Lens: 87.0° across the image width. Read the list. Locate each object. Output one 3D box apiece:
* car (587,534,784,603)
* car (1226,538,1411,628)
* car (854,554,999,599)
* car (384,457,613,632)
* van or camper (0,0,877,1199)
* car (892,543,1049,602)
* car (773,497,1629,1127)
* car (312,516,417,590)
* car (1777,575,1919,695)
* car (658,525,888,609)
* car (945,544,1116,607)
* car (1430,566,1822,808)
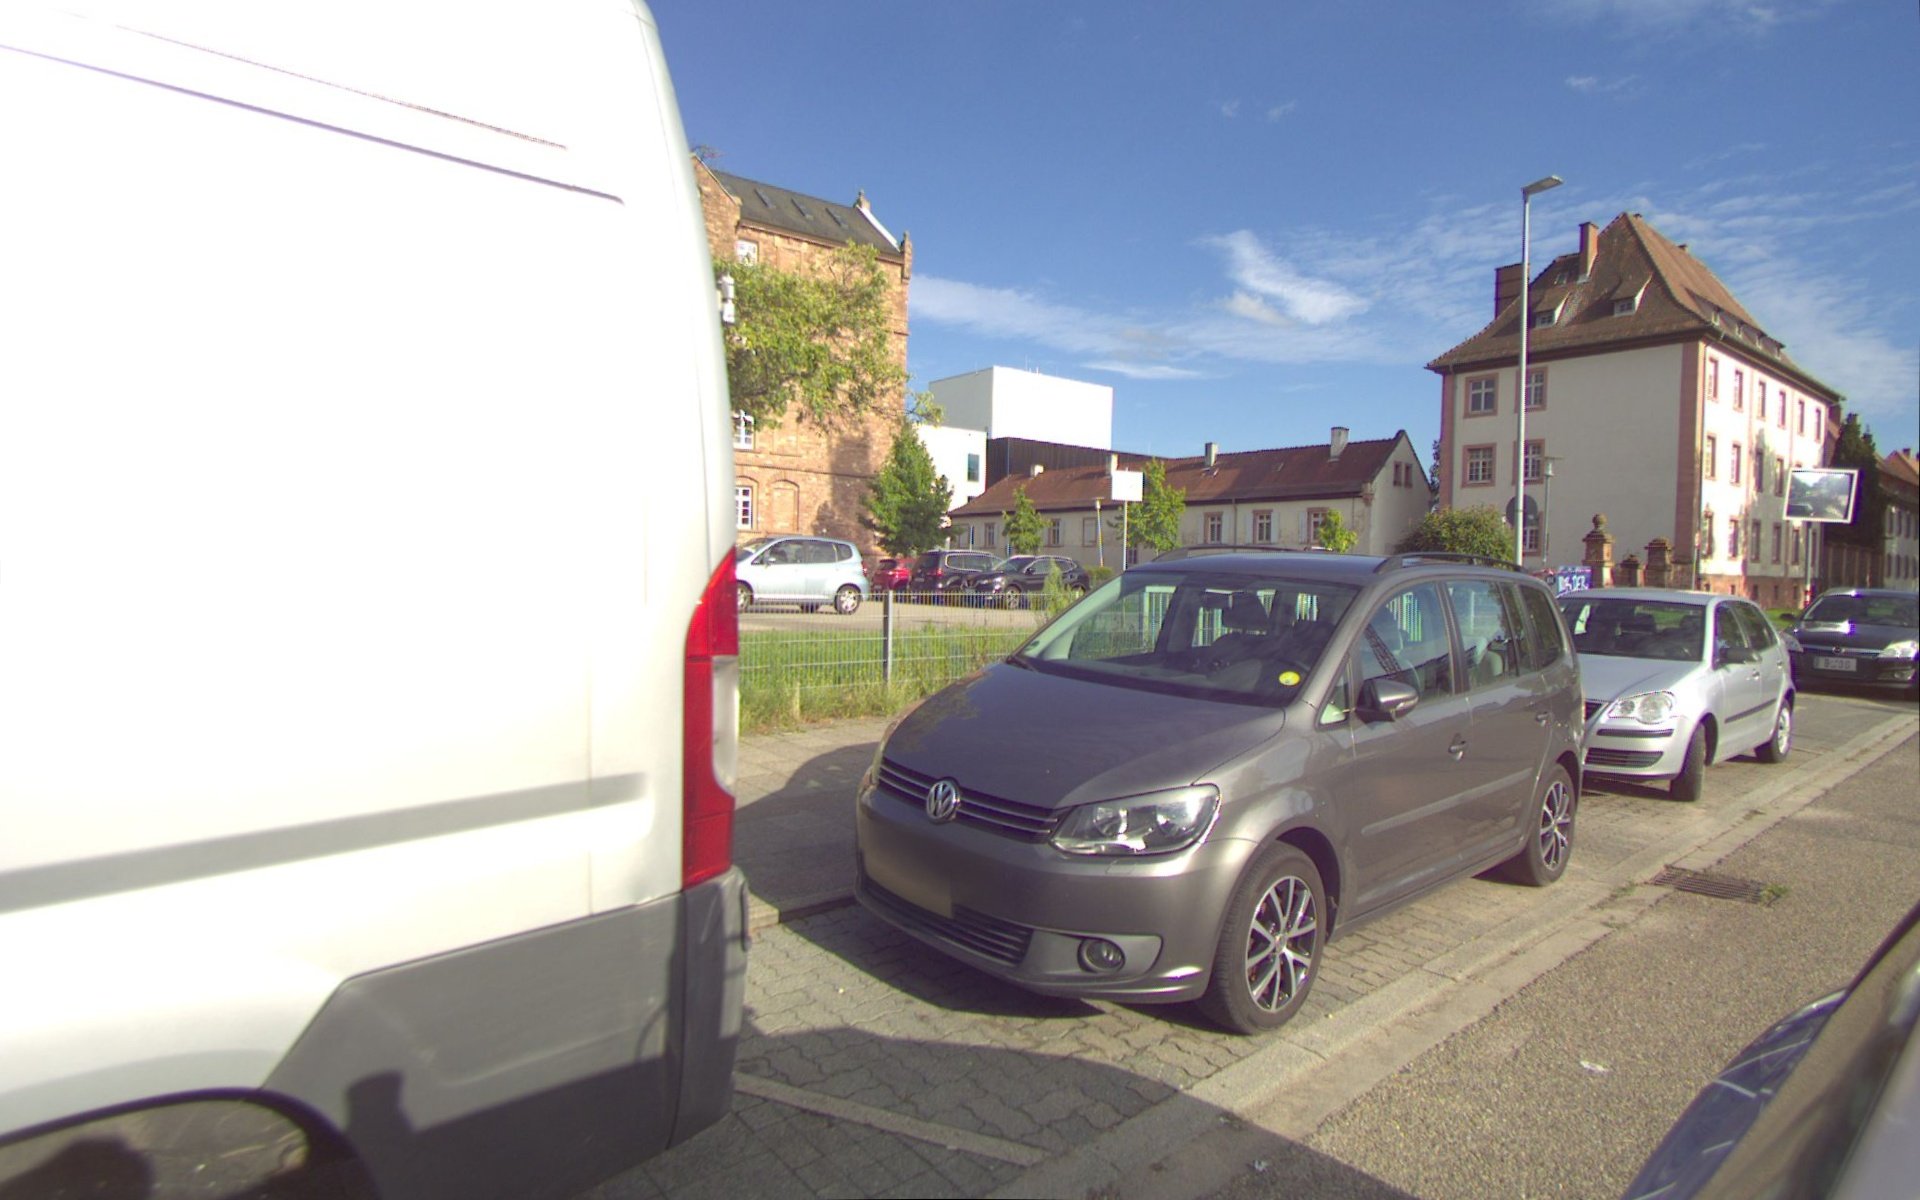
[{"bbox_3d":[-6.354,-0.727,23.616,4.018,1.469,1.889,0,3,-40],"label":"car"},{"bbox_3d":[7.683,-0.382,21.564,4.017,1.740,1.889,0,3,-39],"label":"car"},{"bbox_3d":[-1.144,-0.830,35.655,4.726,1.464,2.183,0,3,-37],"label":"car"},{"bbox_3d":[-5.514,-0.588,11.830,1.835,1.679,3.800,0,2,-34],"label":"car"},{"bbox_3d":[-3.043,0.006,0.672,5.814,2.557,2.163,-1,4,-43],"label":"van or camper"},{"bbox_3d":[0.378,-0.882,32.656,4.726,1.740,2.183,0,3,-37],"label":"car"},{"bbox_3d":[1.395,0.491,4.647,4.131,1.668,1.677,0,4,-41],"label":"car"},{"bbox_3d":[-13.640,-1.036,23.072,1.834,1.522,4.092,0,2,-34],"label":"car"},{"bbox_3d":[13.680,0.440,14.996,3.929,1.504,1.662,0,3,-40],"label":"car"},{"bbox_3d":[-3.588,-0.625,19.754,4.018,1.469,1.889,0,3,-40],"label":"car"},{"bbox_3d":[2.166,-0.728,30.503,4.896,1.740,2.183,0,3,-37],"label":"car"},{"bbox_3d":[5.611,0.515,8.342,3.930,1.504,1.661,-1,3,-41],"label":"car"}]
